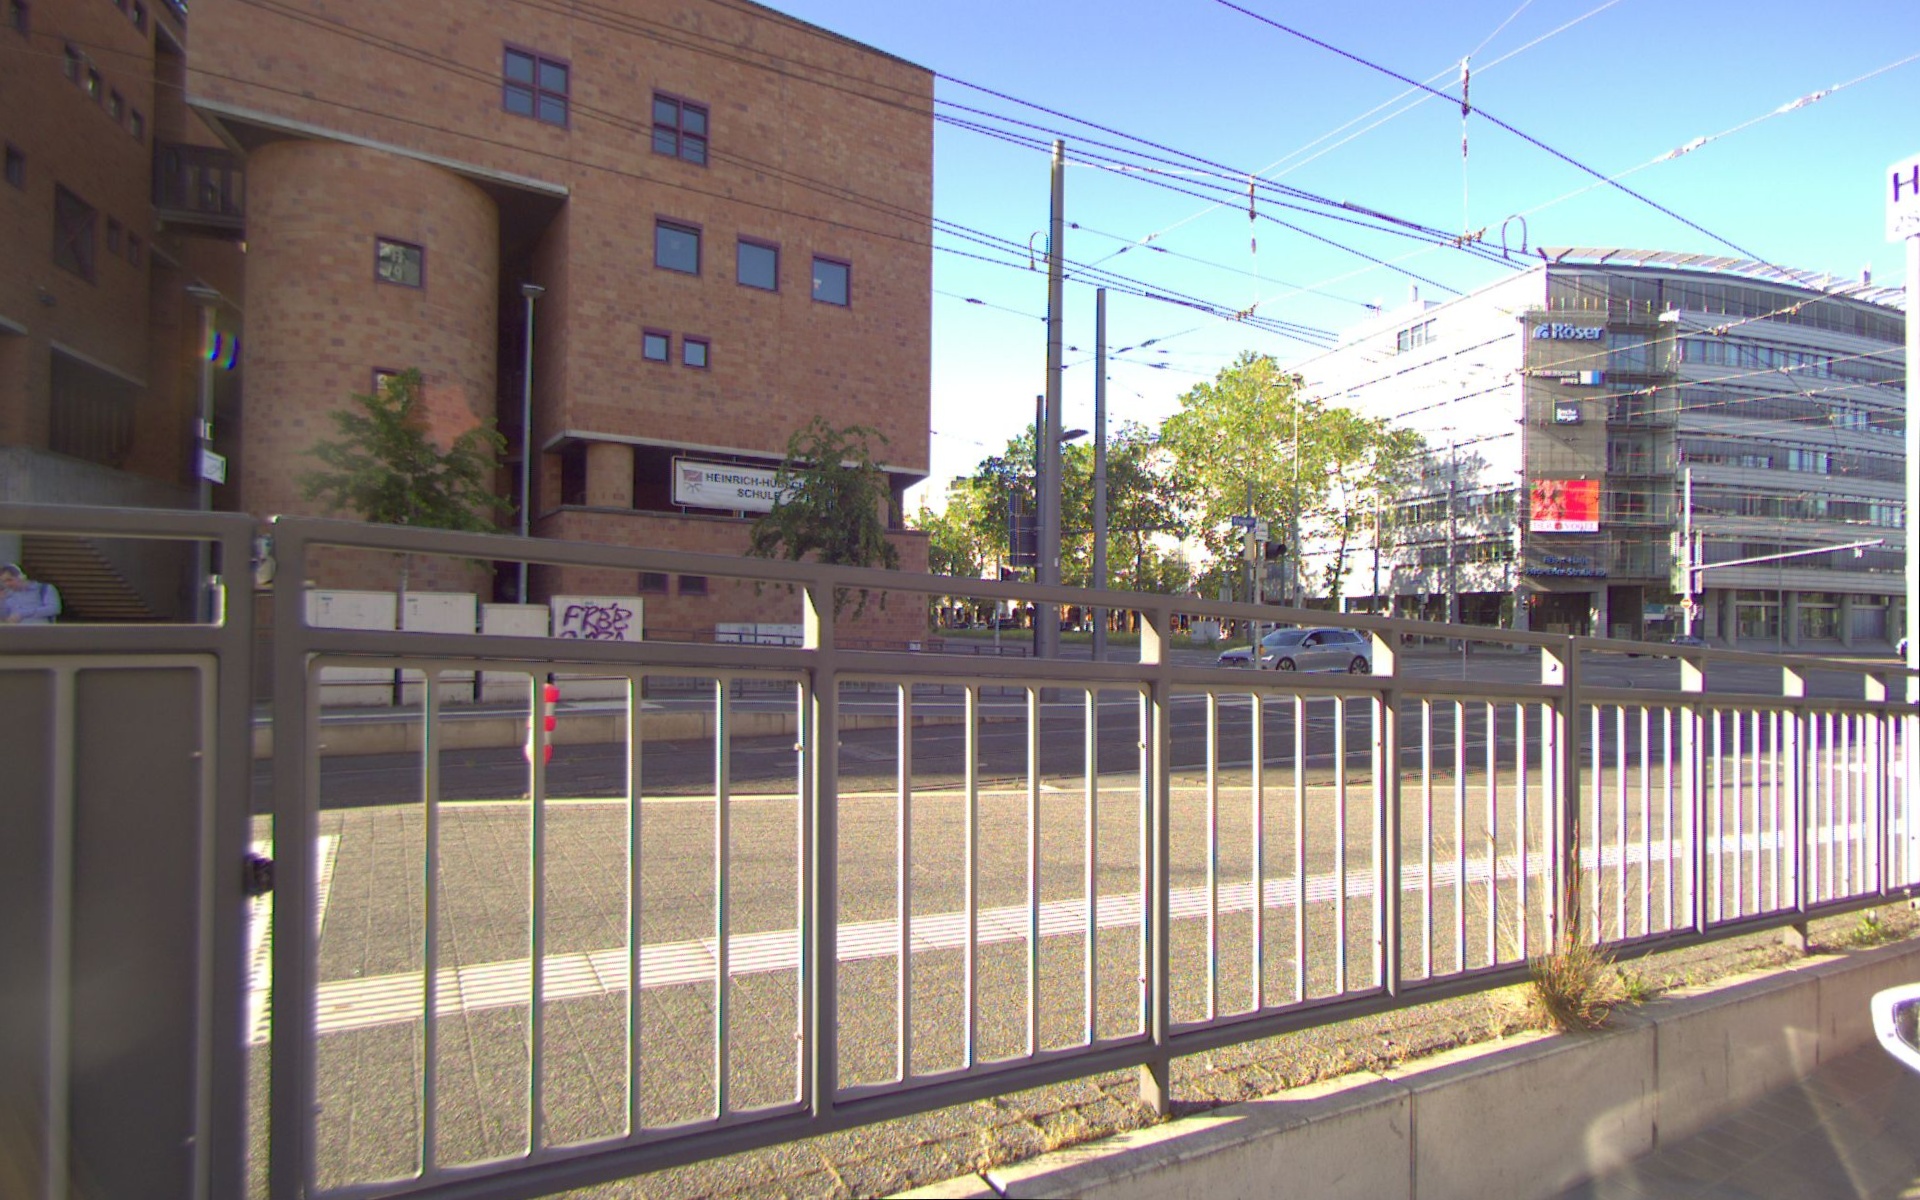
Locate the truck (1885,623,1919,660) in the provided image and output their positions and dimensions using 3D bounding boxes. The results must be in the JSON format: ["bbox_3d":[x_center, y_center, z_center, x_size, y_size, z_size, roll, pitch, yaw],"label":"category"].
[{"bbox_3d":[51.695,2.243,53.250,5.084,1.904,1.989,2,-4,-24],"label":"truck"}]

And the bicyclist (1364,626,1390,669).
[{"bbox_3d":[15.261,1.738,36.756,0.642,1.554,0.584,2,0,-30],"label":"bicyclist"}]

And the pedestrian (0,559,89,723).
[{"bbox_3d":[-9.681,0.416,10.557,0.679,1.656,0.662,2,0,-34],"label":"pedestrian"}]

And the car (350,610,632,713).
[{"bbox_3d":[-8.100,1.039,17.491,4.198,1.589,1.814,2,-2,-35],"label":"car"}]

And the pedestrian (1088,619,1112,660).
[{"bbox_3d":[5.901,1.663,42.306,0.785,1.714,0.587,2,0,-29],"label":"pedestrian"}]

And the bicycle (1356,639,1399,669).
[{"bbox_3d":[15.337,1.981,36.879,1.793,1.104,0.458,2,-3,-30],"label":"bicycle"}]

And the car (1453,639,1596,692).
[{"bbox_3d":[13.697,1.550,24.411,2.841,1.077,1.238,2,0,40],"label":"car"}]

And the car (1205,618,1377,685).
[{"bbox_3d":[8.672,1.334,26.197,4.646,1.589,1.814,2,-2,-34],"label":"car"}]
